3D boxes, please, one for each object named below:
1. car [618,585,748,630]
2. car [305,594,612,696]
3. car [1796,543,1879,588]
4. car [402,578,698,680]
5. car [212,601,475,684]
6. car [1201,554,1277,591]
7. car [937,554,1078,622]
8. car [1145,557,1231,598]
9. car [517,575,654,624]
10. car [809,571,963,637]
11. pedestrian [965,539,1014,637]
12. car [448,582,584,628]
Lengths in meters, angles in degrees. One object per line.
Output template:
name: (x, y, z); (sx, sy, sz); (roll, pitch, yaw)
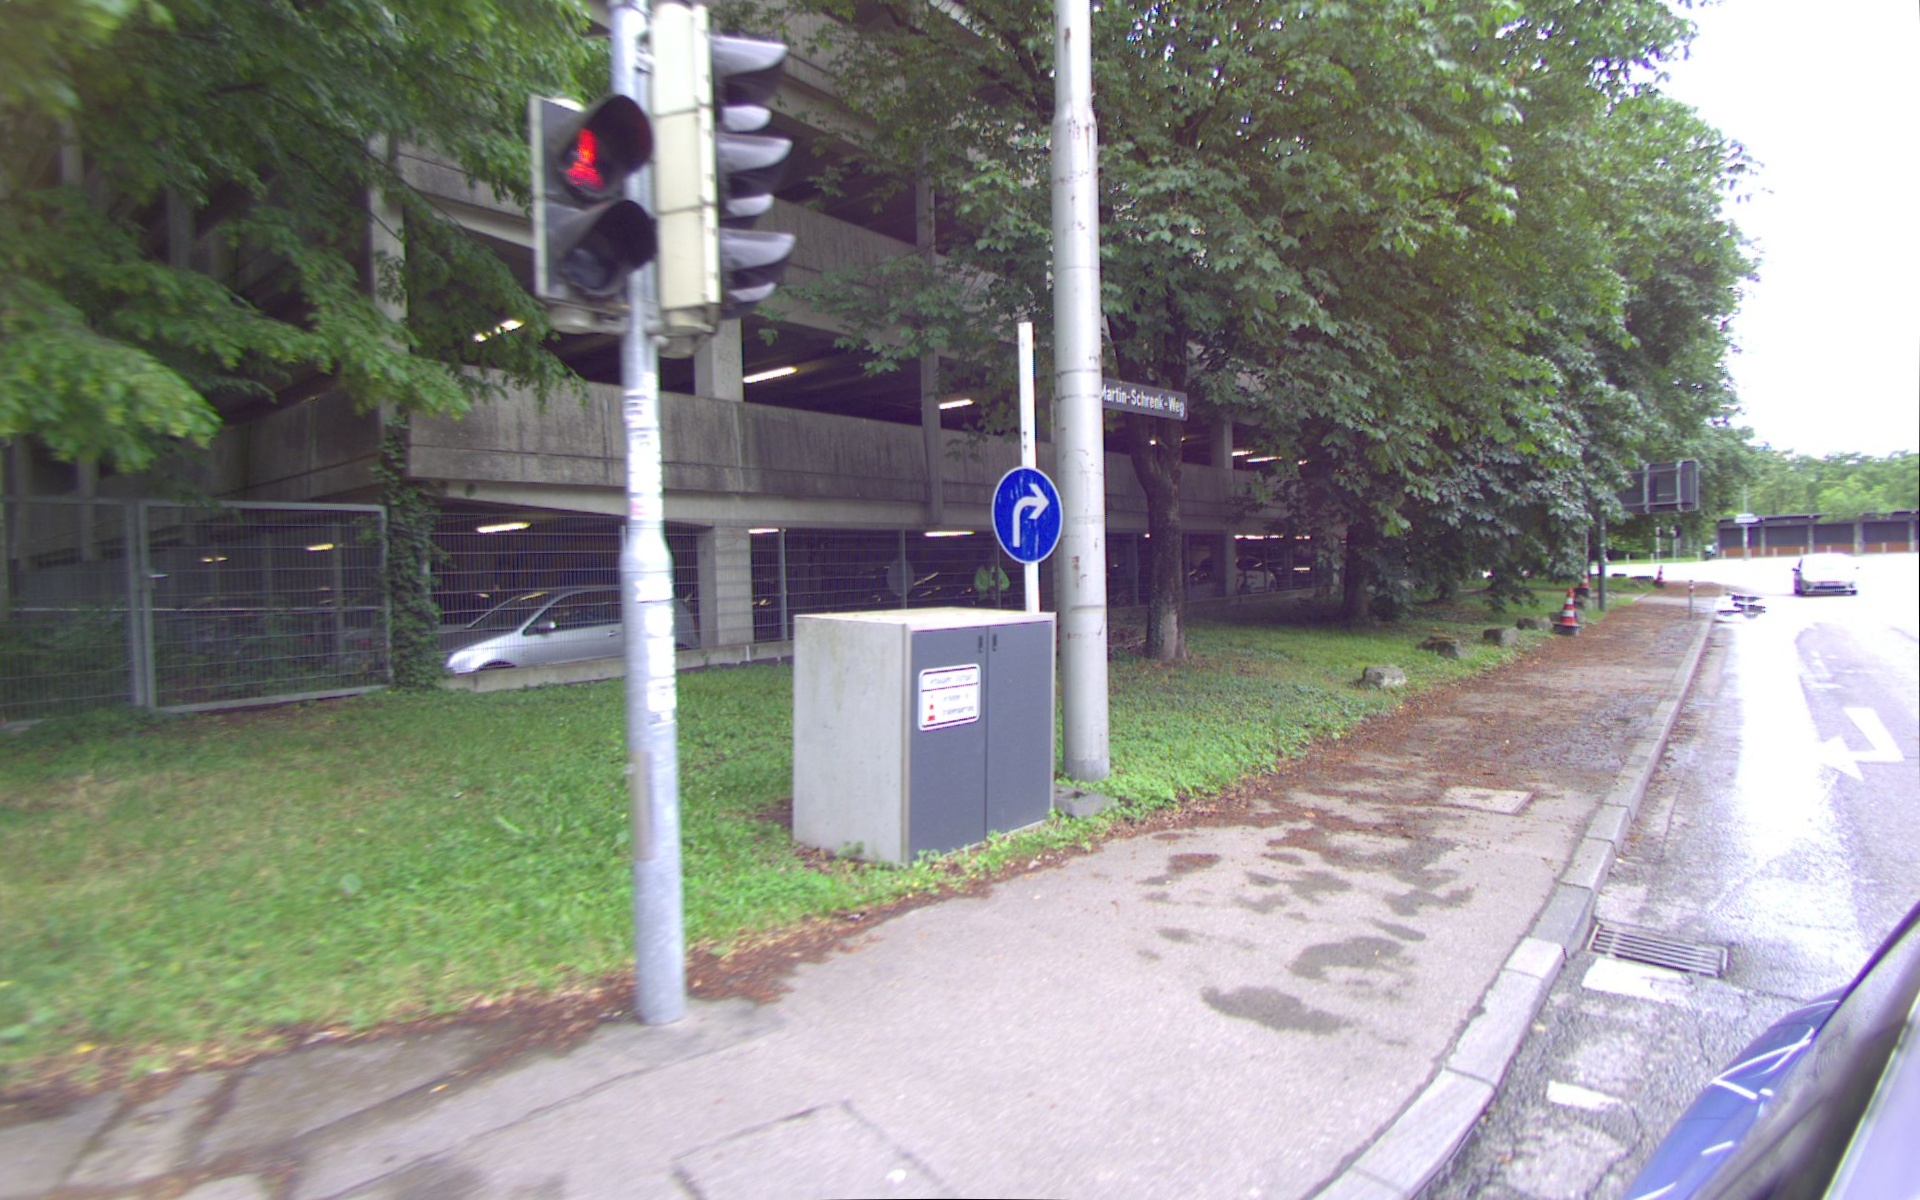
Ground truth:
car: (-7.772, 0.188, 28.620); (1.514, 1.191, 3.298); (-2, 0, 38)
car: (-7.031, 0.546, 14.444); (1.615, 1.176, 3.587); (0, 2, 41)
car: (32.185, -1.308, 37.230); (1.844, 1.497, 4.455); (-1, 2, 35)
car: (-5.185, 0.297, 13.055); (1.531, 1.100, 3.209); (0, 2, 39)
car: (-10.606, 0.660, 17.574); (1.615, 1.176, 3.587); (0, 2, 41)
car: (11.034, -1.106, 39.882); (1.515, 1.343, 3.723); (0, 2, 39)
car: (1.402, -0.370, 28.458); (1.989, 1.749, 3.945); (-2, 1, 39)
car: (8.244, -0.819, 36.378); (1.515, 1.381, 3.723); (0, 2, 39)
car: (-12.733, -0.055, 34.591); (1.816, 1.506, 4.018); (1, 2, 38)
car: (-1.699, 0.043, 24.210); (1.515, 1.381, 3.723); (0, 2, 39)
pedestrian: (0.535, -0.239, 18.463); (0.615, 1.720, 0.602); (5, 6, 38)
car: (-15.641, 0.137, 35.782); (1.816, 1.433, 4.018); (1, 2, 38)
